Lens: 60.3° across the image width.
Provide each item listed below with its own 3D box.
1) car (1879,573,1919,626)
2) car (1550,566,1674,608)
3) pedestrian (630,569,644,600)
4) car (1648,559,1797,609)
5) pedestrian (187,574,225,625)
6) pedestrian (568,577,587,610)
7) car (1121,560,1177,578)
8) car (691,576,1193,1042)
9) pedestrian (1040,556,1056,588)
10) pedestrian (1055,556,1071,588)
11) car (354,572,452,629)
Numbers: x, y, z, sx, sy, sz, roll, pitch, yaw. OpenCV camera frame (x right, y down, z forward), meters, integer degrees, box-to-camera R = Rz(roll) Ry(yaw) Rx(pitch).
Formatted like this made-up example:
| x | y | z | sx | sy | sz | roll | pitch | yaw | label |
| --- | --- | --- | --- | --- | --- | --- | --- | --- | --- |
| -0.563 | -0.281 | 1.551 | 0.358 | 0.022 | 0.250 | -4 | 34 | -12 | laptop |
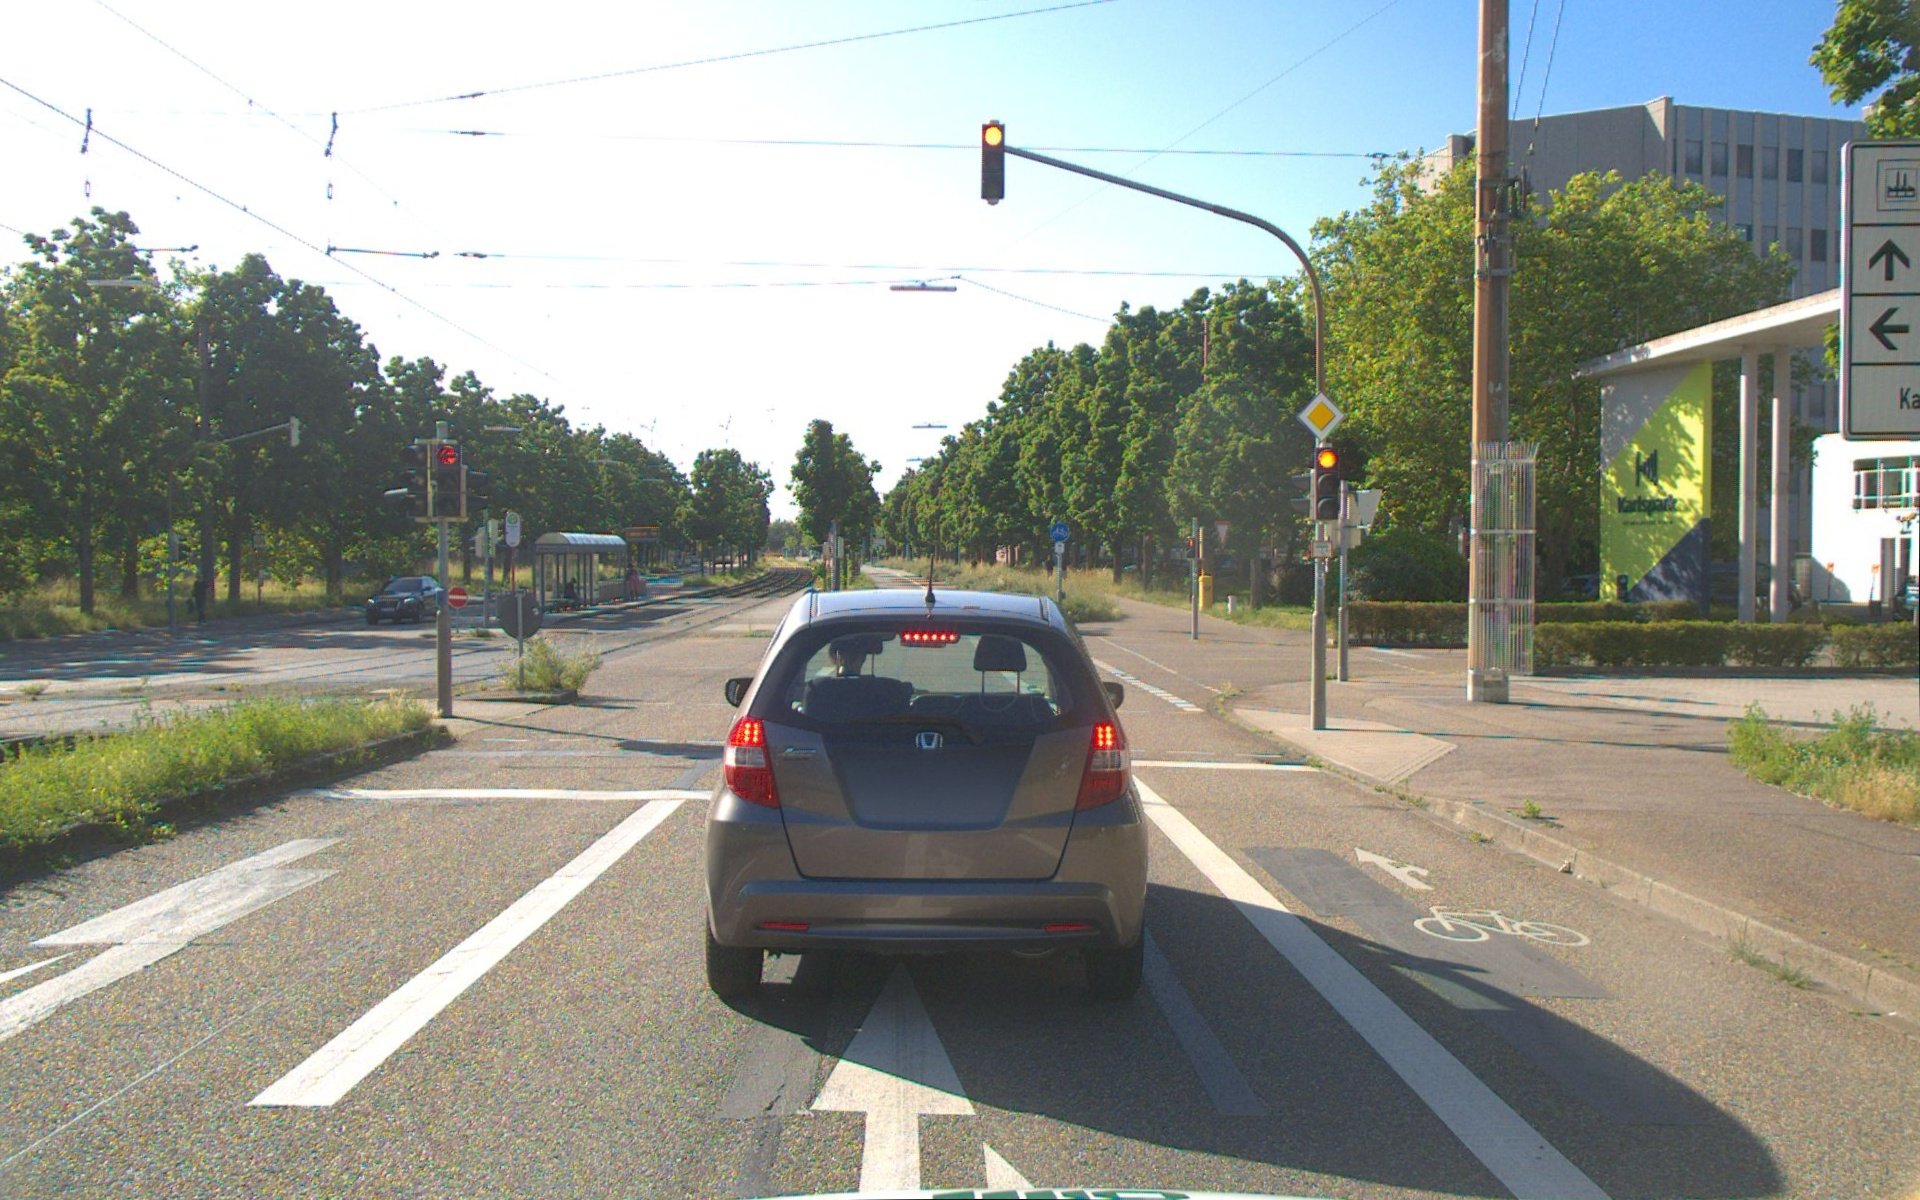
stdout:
| x | y | z | sx | sy | sz | roll | pitch | yaw | label |
| --- | --- | --- | --- | --- | --- | --- | --- | --- | --- |
| 30.631 | -0.020 | 50.743 | 3.914 | 1.605 | 1.950 | 0 | 1 | -10 | car |
| 26.634 | -0.544 | 67.612 | 4.371 | 1.715 | 1.892 | 0 | 1 | -7 | car |
| -15.586 | -0.761 | 79.863 | 0.533 | 1.473 | 0.559 | -1 | 0 | -1 | pedestrian |
| 27.999 | -0.612 | 60.770 | 4.803 | 1.787 | 2.083 | 0 | 1 | -16 | car |
| -26.296 | -0.016 | 57.712 | 0.744 | 1.764 | 0.936 | 0 | 1 | 27 | pedestrian |
| -15.096 | -0.261 | 65.310 | 0.552 | 1.279 | 0.580 | -2 | 0 | -2 | pedestrian |
| 16.542 | -2.731 | 144.820 | 4.543 | 1.582 | 1.997 | -1 | 1 | -7 | car |
| -0.083 | 0.699 | 7.395 | 1.666 | 1.550 | 3.709 | 1 | 0 | -1 | car |
| 5.371 | -1.711 | 100.905 | 0.865 | 1.917 | 0.875 | 0 | 1 | -5 | pedestrian |
| 6.291 | -1.695 | 100.936 | 0.865 | 1.917 | 0.875 | 0 | 1 | -5 | pedestrian |
| -20.196 | -0.029 | 60.179 | 2.052 | 1.841 | 4.791 | -2 | 2 | -3 | car |
